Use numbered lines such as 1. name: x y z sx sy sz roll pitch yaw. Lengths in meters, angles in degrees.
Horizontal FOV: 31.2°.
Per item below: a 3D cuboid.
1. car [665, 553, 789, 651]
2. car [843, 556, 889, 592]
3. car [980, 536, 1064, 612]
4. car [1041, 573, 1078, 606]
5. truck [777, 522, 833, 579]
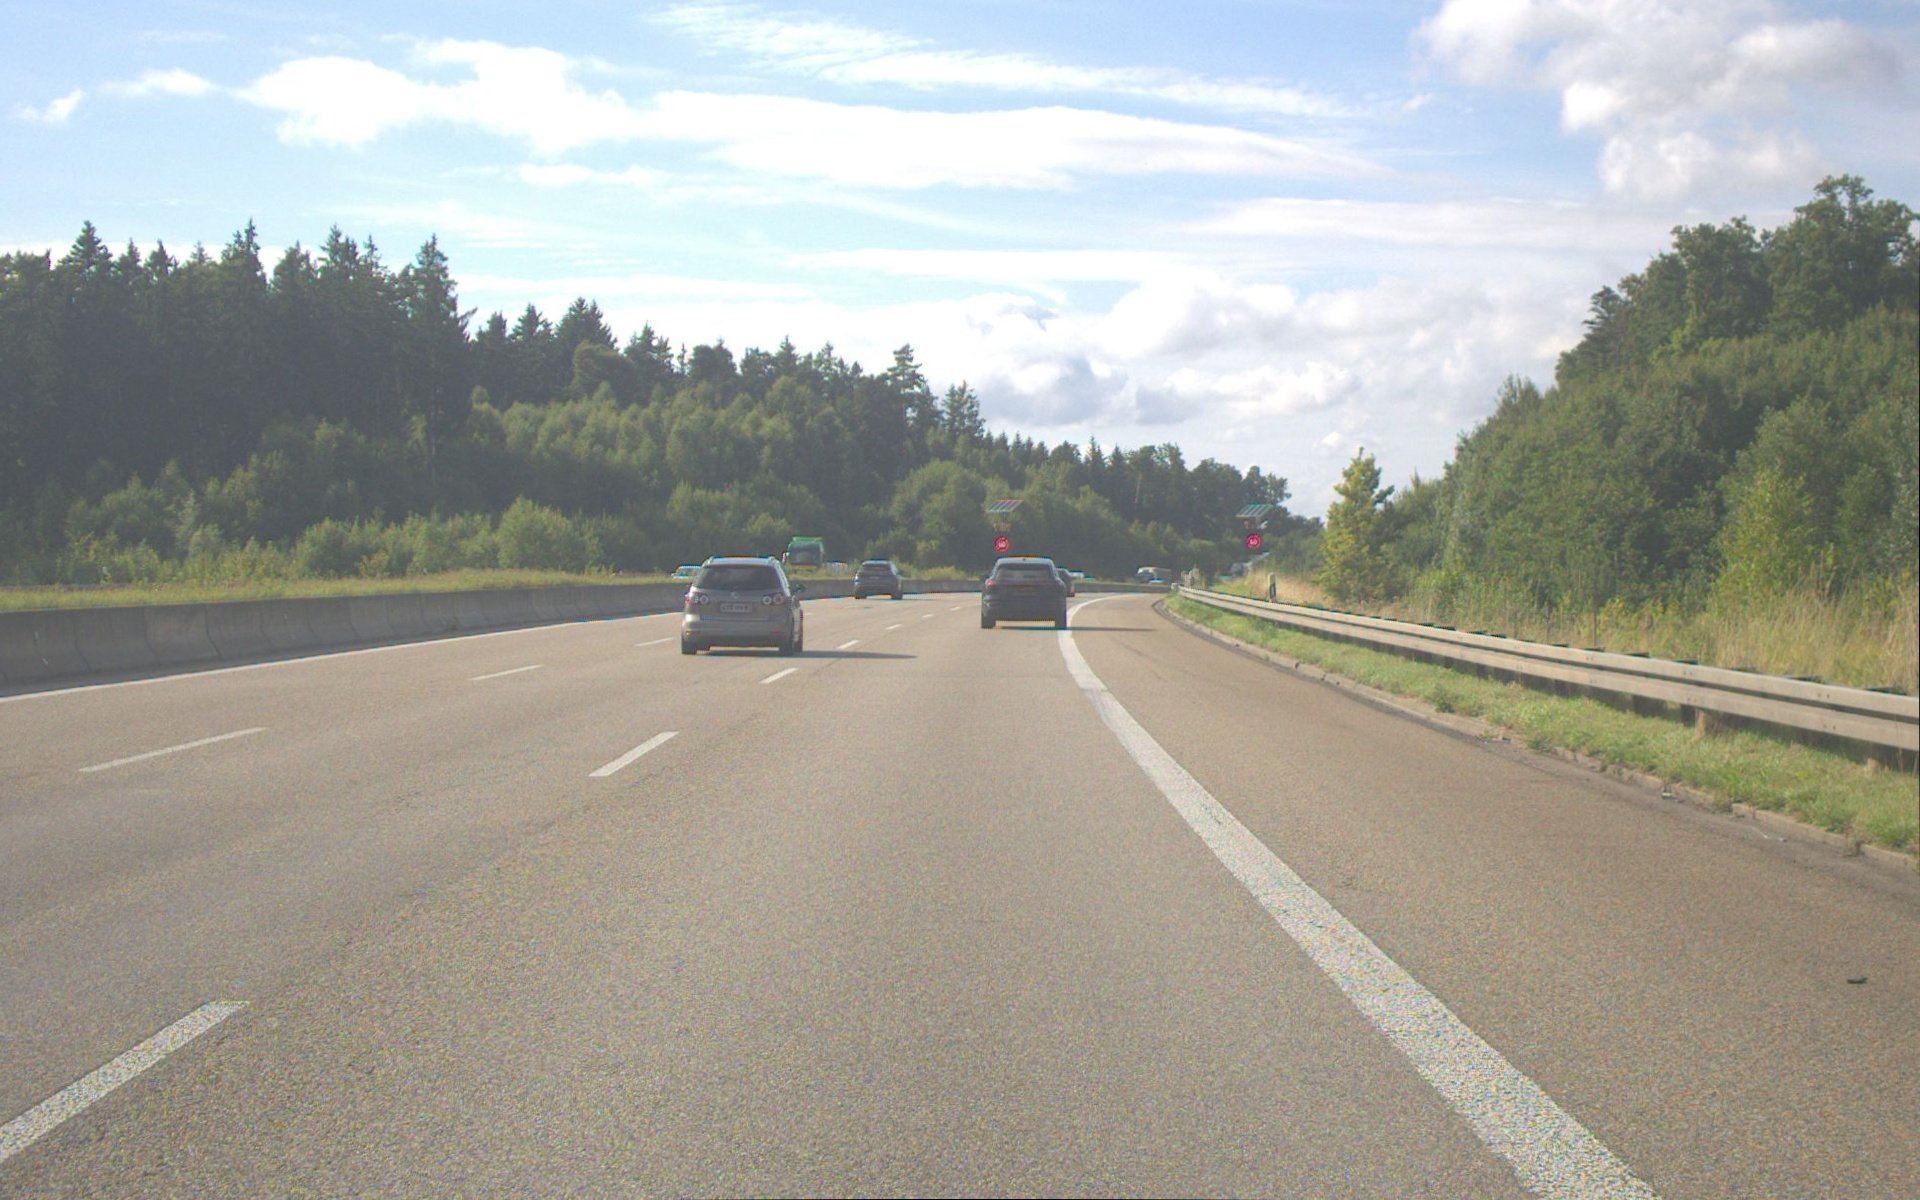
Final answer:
1. car: -3.720 0.011 55.476 1.873 1.492 3.880 1 1 -2
2. car: -4.073 -1.132 149.195 1.873 1.492 3.880 1 1 0
3. car: 1.421 -0.613 78.756 1.874 1.669 3.890 1 1 1
4. car: 5.218 -0.566 180.033 1.812 1.700 4.000 0 1 3
5. truck: -11.025 -3.525 245.043 3.376 3.995 5.863 1 1 3
